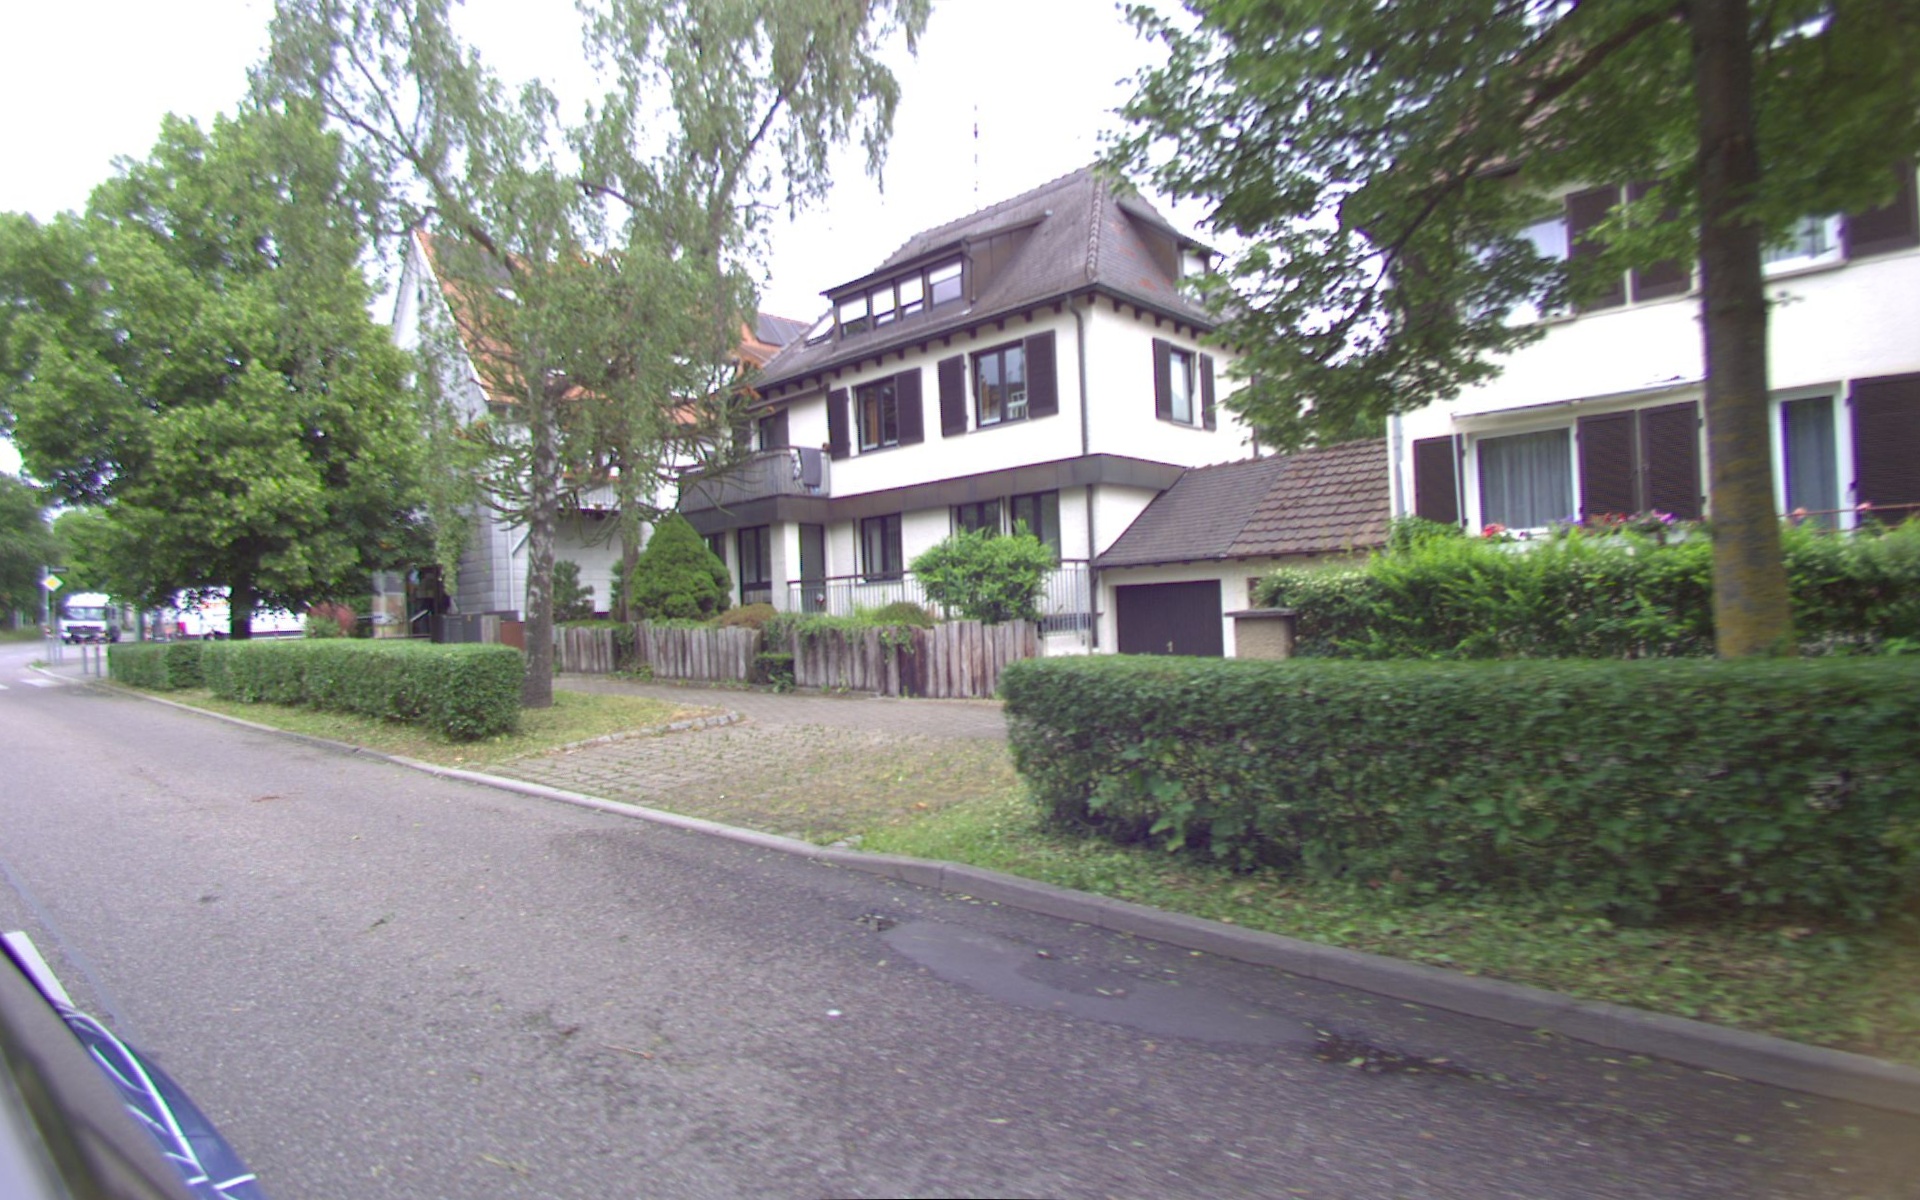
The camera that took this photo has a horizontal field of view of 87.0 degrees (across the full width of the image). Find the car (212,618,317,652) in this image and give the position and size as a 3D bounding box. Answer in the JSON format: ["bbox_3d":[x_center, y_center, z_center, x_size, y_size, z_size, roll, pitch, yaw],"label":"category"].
[{"bbox_3d":[-34.672,1.707,50.565,1.795,1.522,3.954,-1,0,34],"label":"car"}]

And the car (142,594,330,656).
[{"bbox_3d":[-29.935,0.986,42.181,1.963,2.365,6.325,-2,0,22],"label":"car"}]

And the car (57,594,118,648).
[{"bbox_3d":[-56.431,1.329,65.583,2.398,3.300,7.809,-1,0,-36],"label":"car"}]
